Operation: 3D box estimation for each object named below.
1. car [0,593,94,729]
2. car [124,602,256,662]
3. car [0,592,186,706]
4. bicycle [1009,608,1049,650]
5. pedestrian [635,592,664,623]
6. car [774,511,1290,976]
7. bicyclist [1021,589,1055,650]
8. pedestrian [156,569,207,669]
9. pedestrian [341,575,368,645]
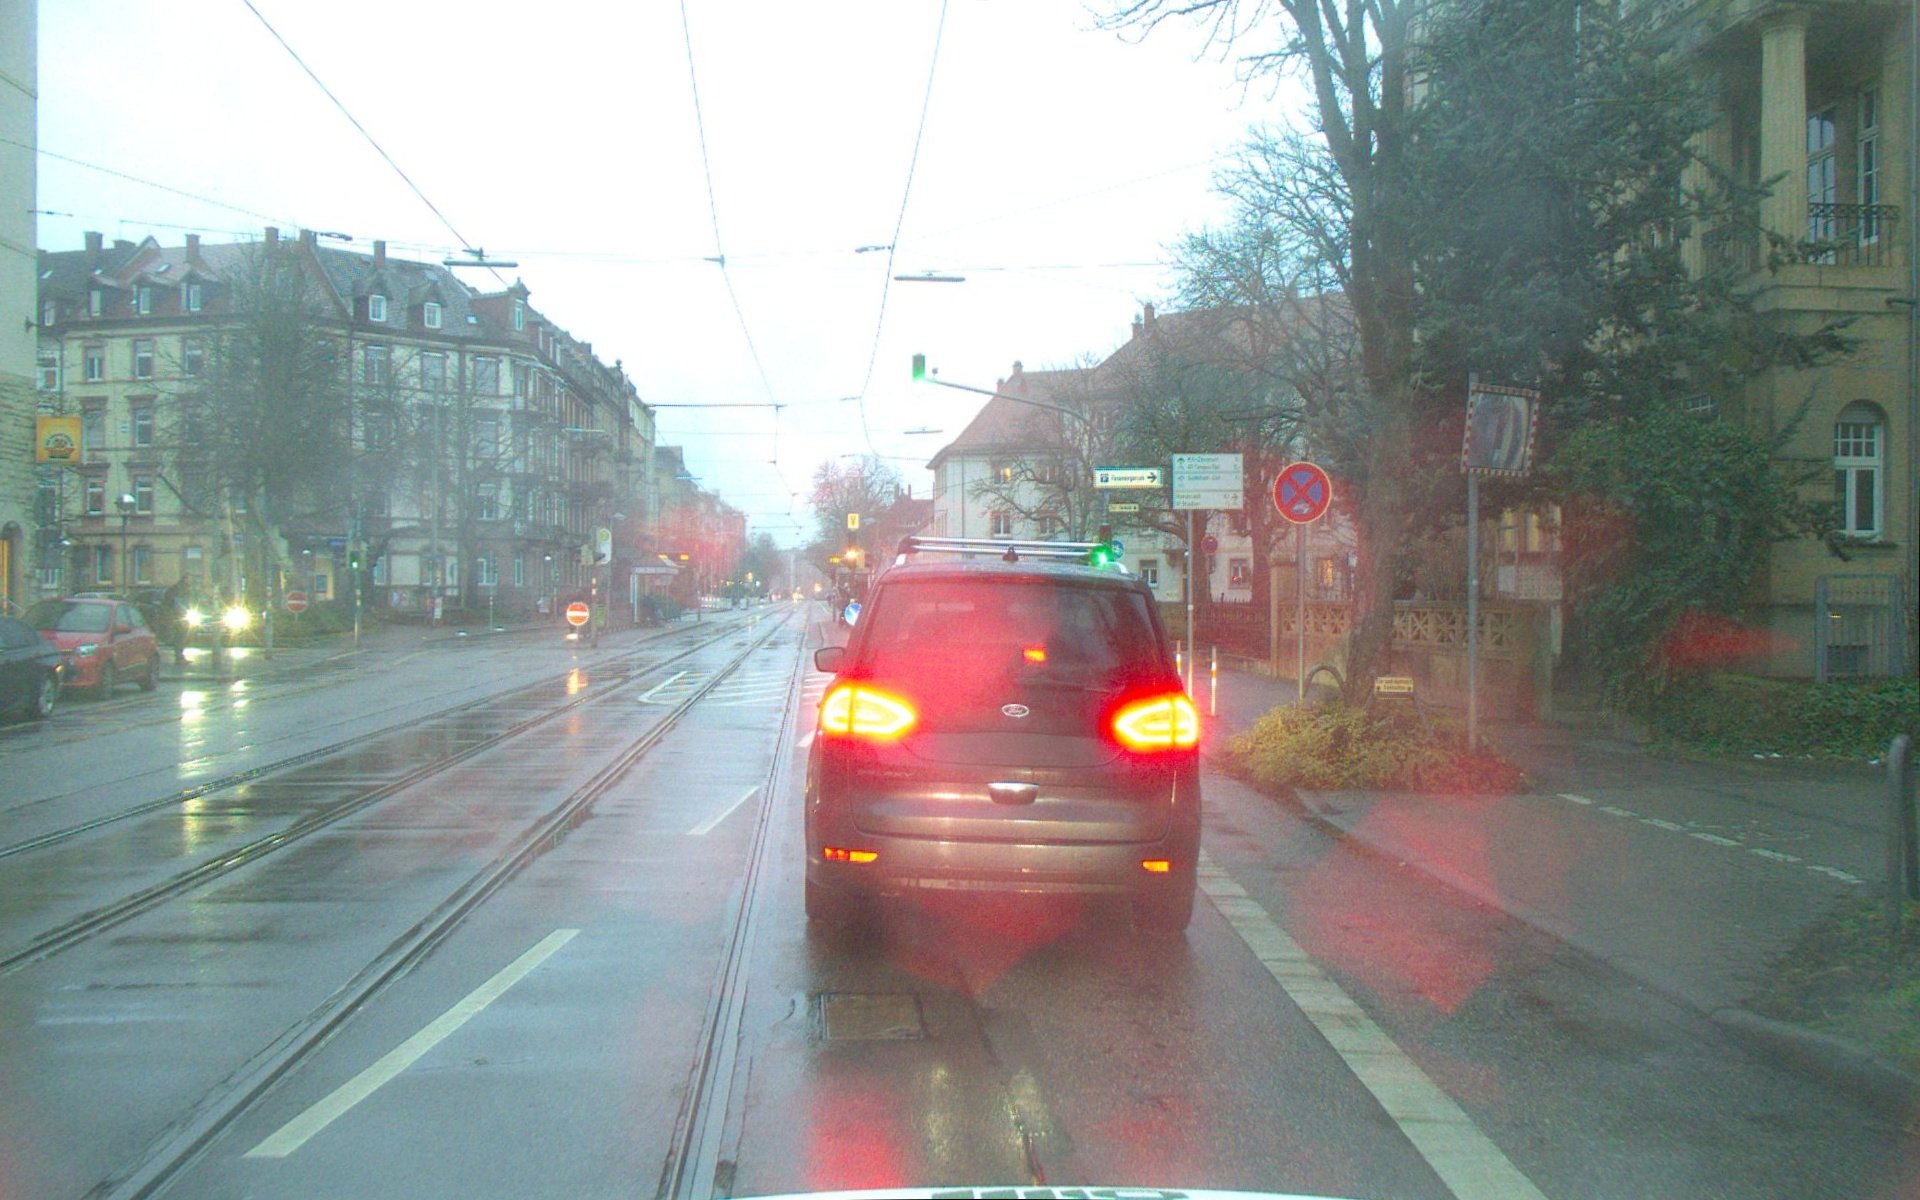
[{"bbox_3d":[-13.206,0.736,21.362,1.949,1.674,4.623,5,-1,-7],"label":"car"},{"bbox_3d":[-23.088,0.927,49.561,3.922,1.702,2.014,0,0,38],"label":"car"},{"bbox_3d":[-14.351,0.736,27.015,2.000,1.578,4.023,4,0,-10],"label":"car"},{"bbox_3d":[1.988,0.828,47.931,0.703,1.131,1.937,4,0,-9],"label":"bicycle"},{"bbox_3d":[-12.633,0.313,67.262,1.027,1.221,0.884,1,-1,-4],"label":"pedestrian"},{"bbox_3d":[0.200,0.584,9.084,2.061,1.848,4.658,2,0,-3],"label":"car"},{"bbox_3d":[2.255,0.560,48.031,0.703,1.691,1.054,4,0,-9],"label":"bicyclist"},{"bbox_3d":[-16.276,0.396,34.568,0.742,2.049,0.646,0,-1,31],"label":"pedestrian"},{"bbox_3d":[-17.982,0.296,49.114,0.695,2.049,0.655,0,0,-24],"label":"pedestrian"}]
